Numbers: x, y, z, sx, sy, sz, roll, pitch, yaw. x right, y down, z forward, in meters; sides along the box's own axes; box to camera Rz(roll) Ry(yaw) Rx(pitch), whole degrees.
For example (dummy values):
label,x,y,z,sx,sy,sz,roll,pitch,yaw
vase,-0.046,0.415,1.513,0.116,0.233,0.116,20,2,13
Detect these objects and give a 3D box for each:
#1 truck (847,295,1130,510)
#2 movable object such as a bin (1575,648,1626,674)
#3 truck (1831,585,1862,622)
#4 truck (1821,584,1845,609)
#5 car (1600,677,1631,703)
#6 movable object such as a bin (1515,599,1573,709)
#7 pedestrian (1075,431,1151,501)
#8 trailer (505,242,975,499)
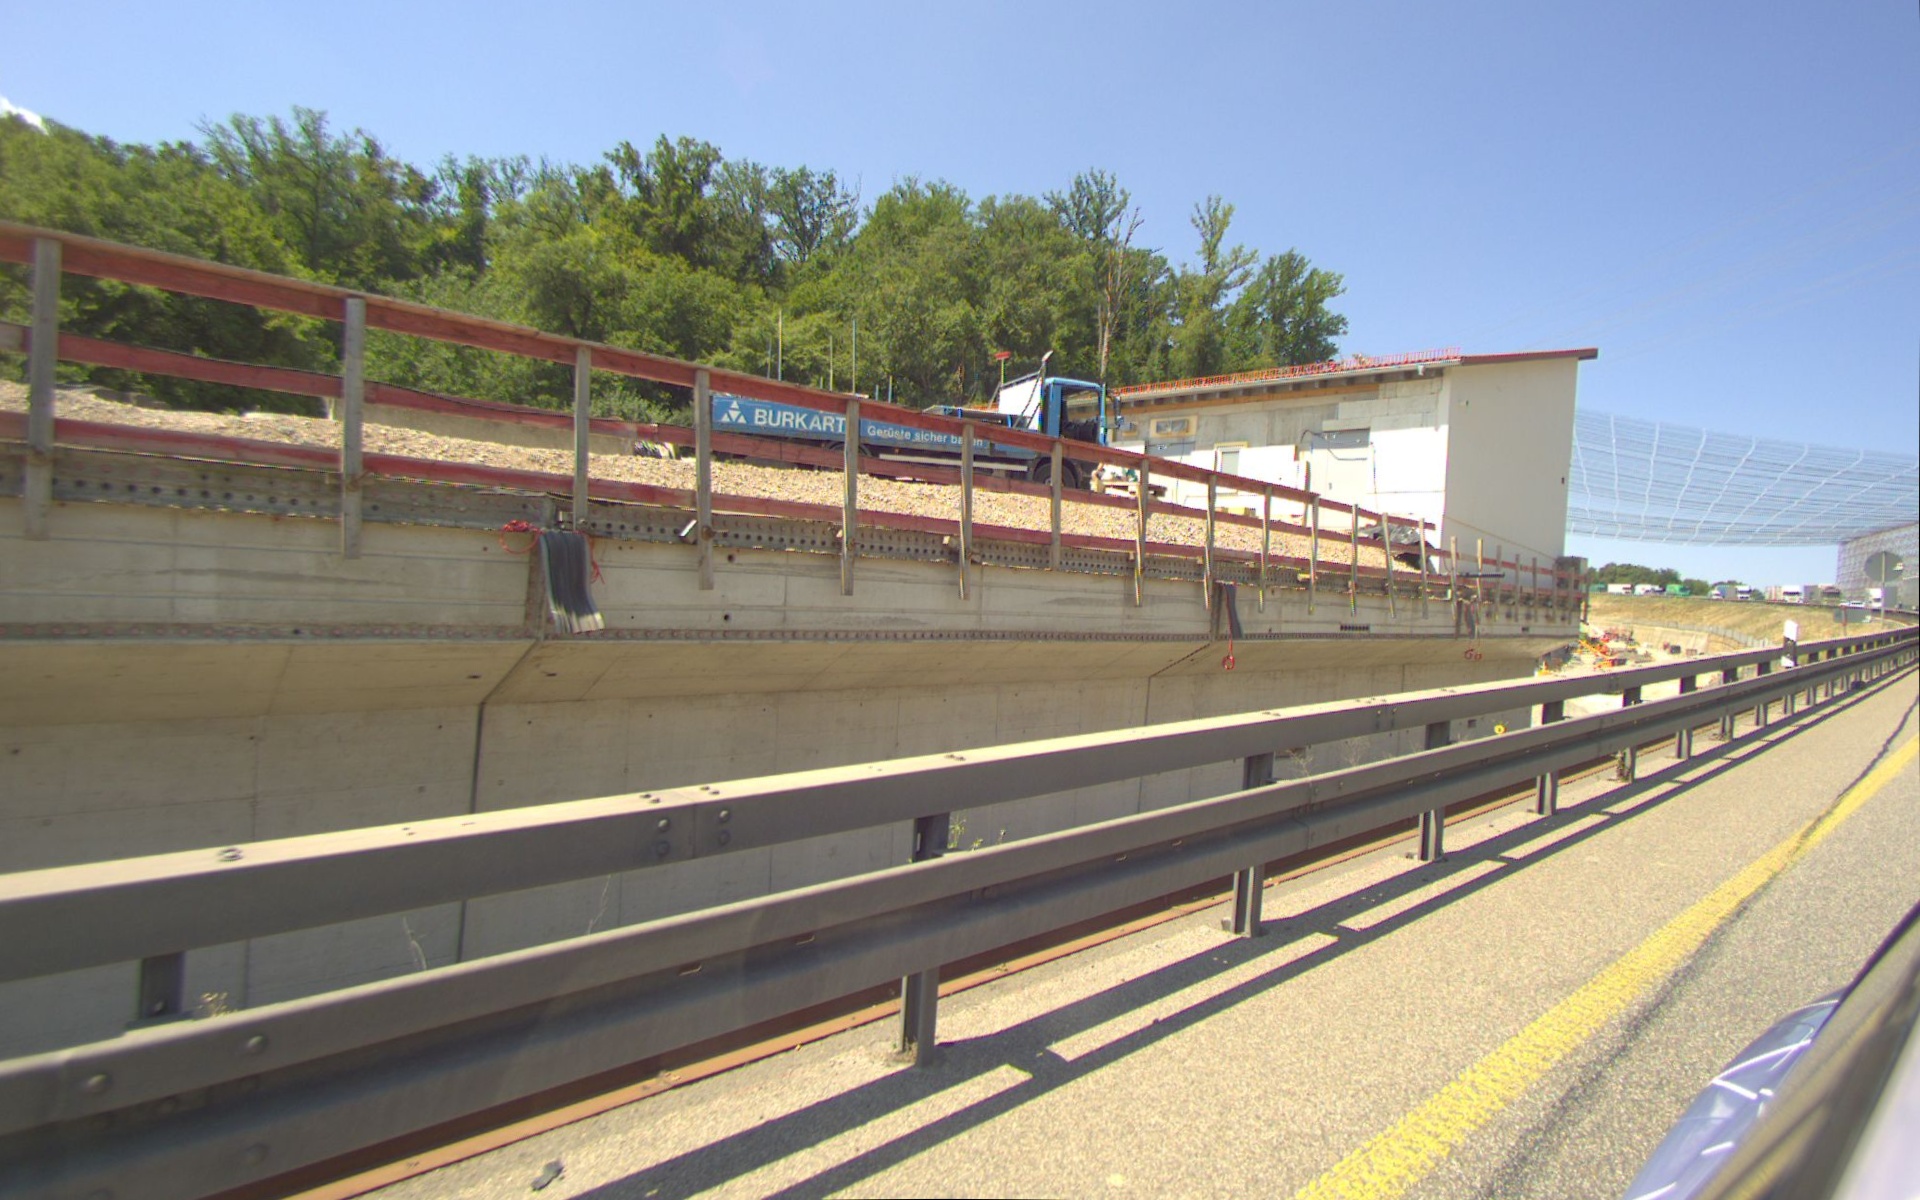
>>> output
label,x,y,z,sx,sy,sz,roll,pitch,yaw
truck,0.587,-4.204,22.660,5.590,3.741,2.725,3,-1,-18
movable object such as a bin,76.319,7.282,120.656,2.175,2.669,5.507,0,1,-6
truck,120.479,0.421,137.673,3.030,4.866,8.811,0,0,41
truck,147.794,-0.601,171.431,3.030,4.107,8.549,0,1,40
car,61.962,8.471,95.618,1.991,2.039,3.942,0,1,40
movable object such as a bin,42.108,3.700,72.878,2.917,7.445,6.158,0,0,36
pedestrian,2.873,-2.500,19.078,0.976,1.165,1.023,-1,0,-36
trailer,-4.380,-4.412,20.976,8.805,3.741,2.725,3,-1,-18
